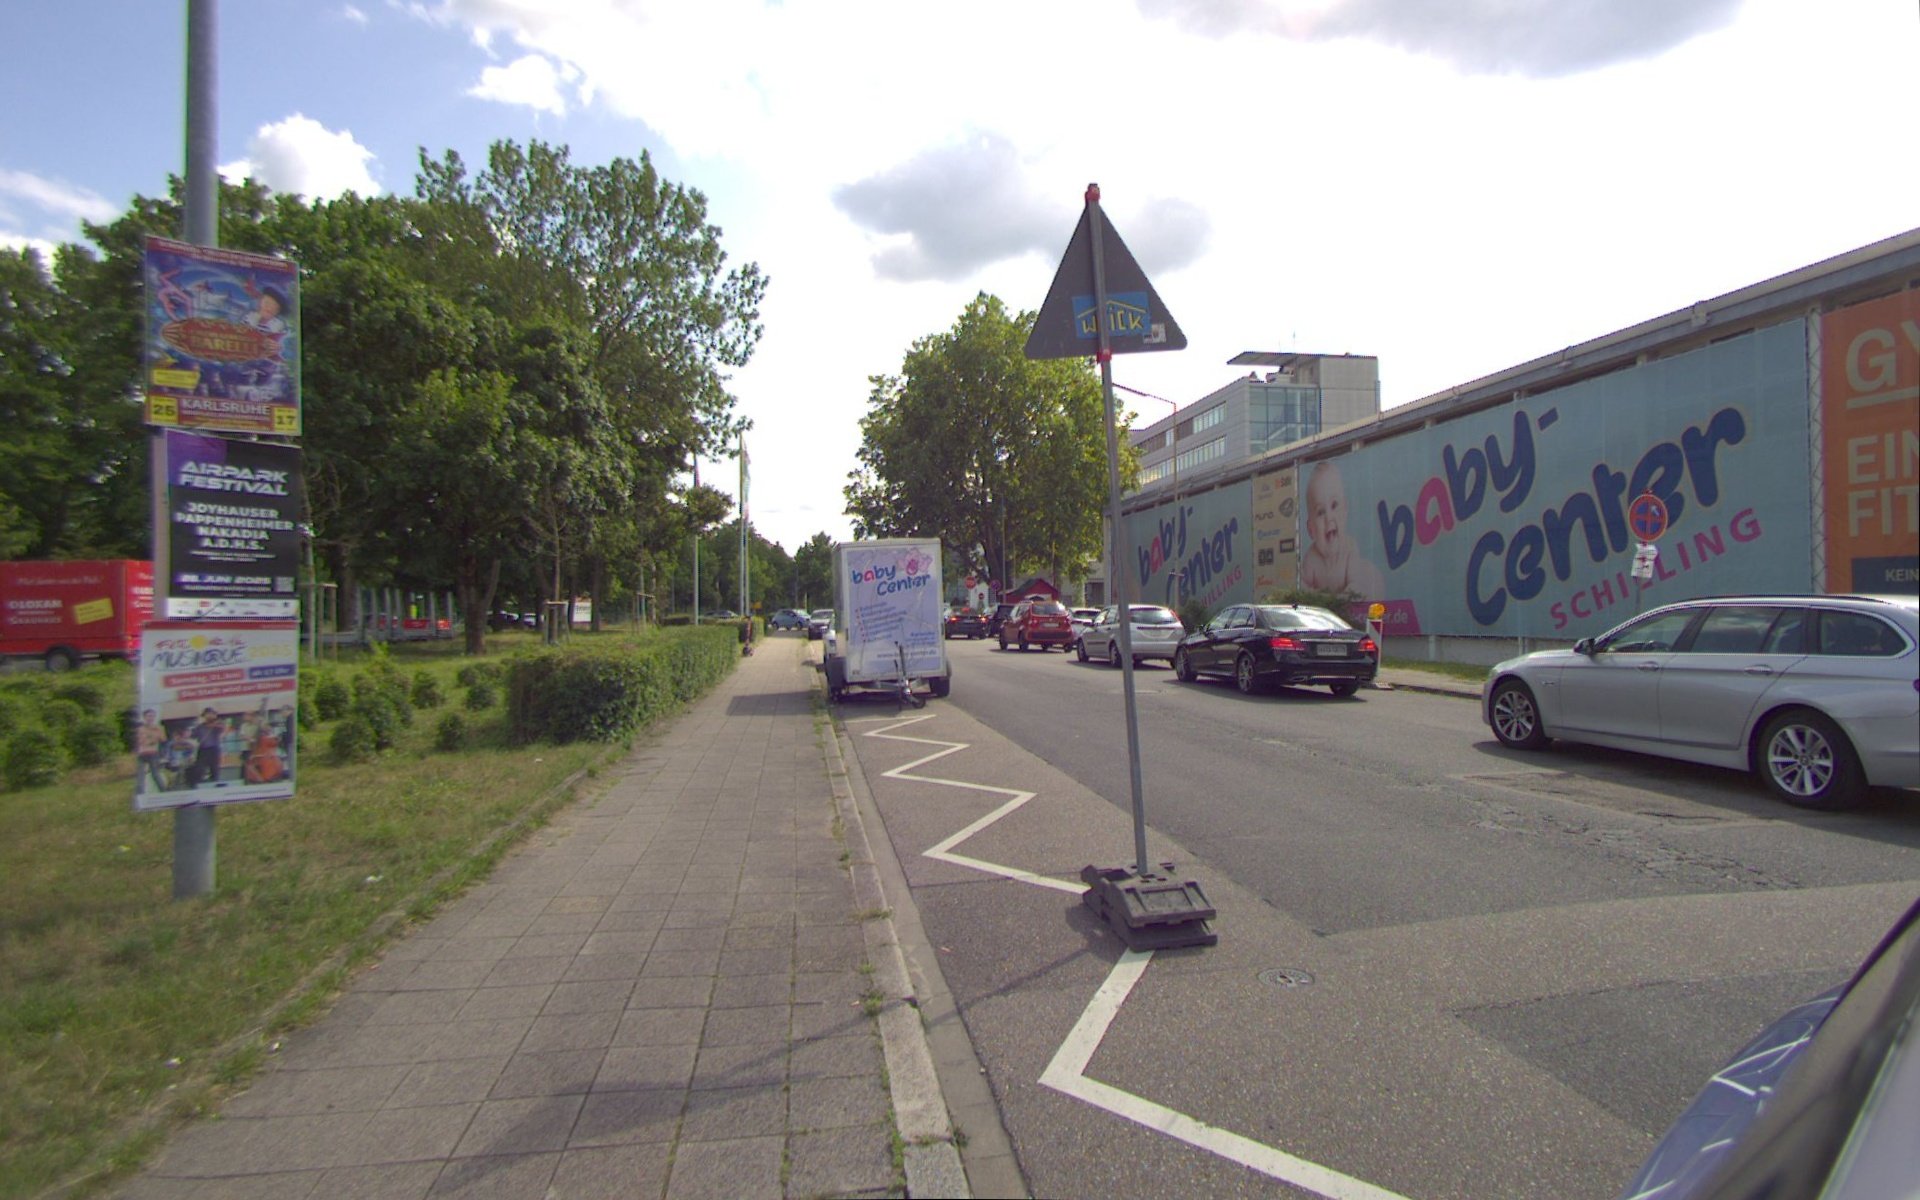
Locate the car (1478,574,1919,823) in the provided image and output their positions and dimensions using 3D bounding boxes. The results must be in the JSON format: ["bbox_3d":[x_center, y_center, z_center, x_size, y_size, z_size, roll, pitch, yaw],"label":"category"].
[{"bbox_3d":[6.397,0.608,8.048,1.735,1.499,4.623,0,0,-7],"label":"car"}]

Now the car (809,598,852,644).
[{"bbox_3d":[-6.481,1.010,50.829,1.960,2.038,4.005,-4,1,-7],"label":"car"}]

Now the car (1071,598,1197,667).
[{"bbox_3d":[4.087,0.725,24.462,1.757,1.509,3.954,-1,0,-10],"label":"car"}]

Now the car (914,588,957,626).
[{"bbox_3d":[-1.388,0.374,55.876,1.960,2.039,4.004,-1,0,-7],"label":"car"}]

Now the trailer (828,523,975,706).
[{"bbox_3d":[-1.084,0.183,16.239,1.733,2.448,4.284,-3,1,-10],"label":"trailer"}]

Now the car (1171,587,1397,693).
[{"bbox_3d":[5.227,0.598,17.065,1.816,1.518,4.562,-1,0,-8],"label":"car"}]

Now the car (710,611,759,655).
[{"bbox_3d":[-9.052,1.318,40.836,1.683,1.559,3.693,-4,-1,-10],"label":"car"}]

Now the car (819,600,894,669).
[{"bbox_3d":[-2.784,0.843,26.629,1.683,1.559,3.695,-1,1,-10],"label":"car"}]

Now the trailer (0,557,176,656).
[{"bbox_3d":[-18.834,0.136,21.764,2.738,2.039,1.502,-1,-1,-7],"label":"trailer"}]

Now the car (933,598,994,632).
[{"bbox_3d":[0.078,0.669,46.033,1.972,1.422,4.795,-2,0,-9],"label":"car"}]

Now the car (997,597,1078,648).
[{"bbox_3d":[2.390,0.688,32.183,1.566,1.522,3.512,-1,0,-13],"label":"car"}]

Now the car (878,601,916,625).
[{"bbox_3d":[-4.443,0.886,71.156,1.958,1.603,4.007,-1,0,-13],"label":"car"}]

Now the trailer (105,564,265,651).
[{"bbox_3d":[-18.998,0.166,24.915,2.737,2.039,1.503,-1,-1,-12],"label":"trailer"}]
